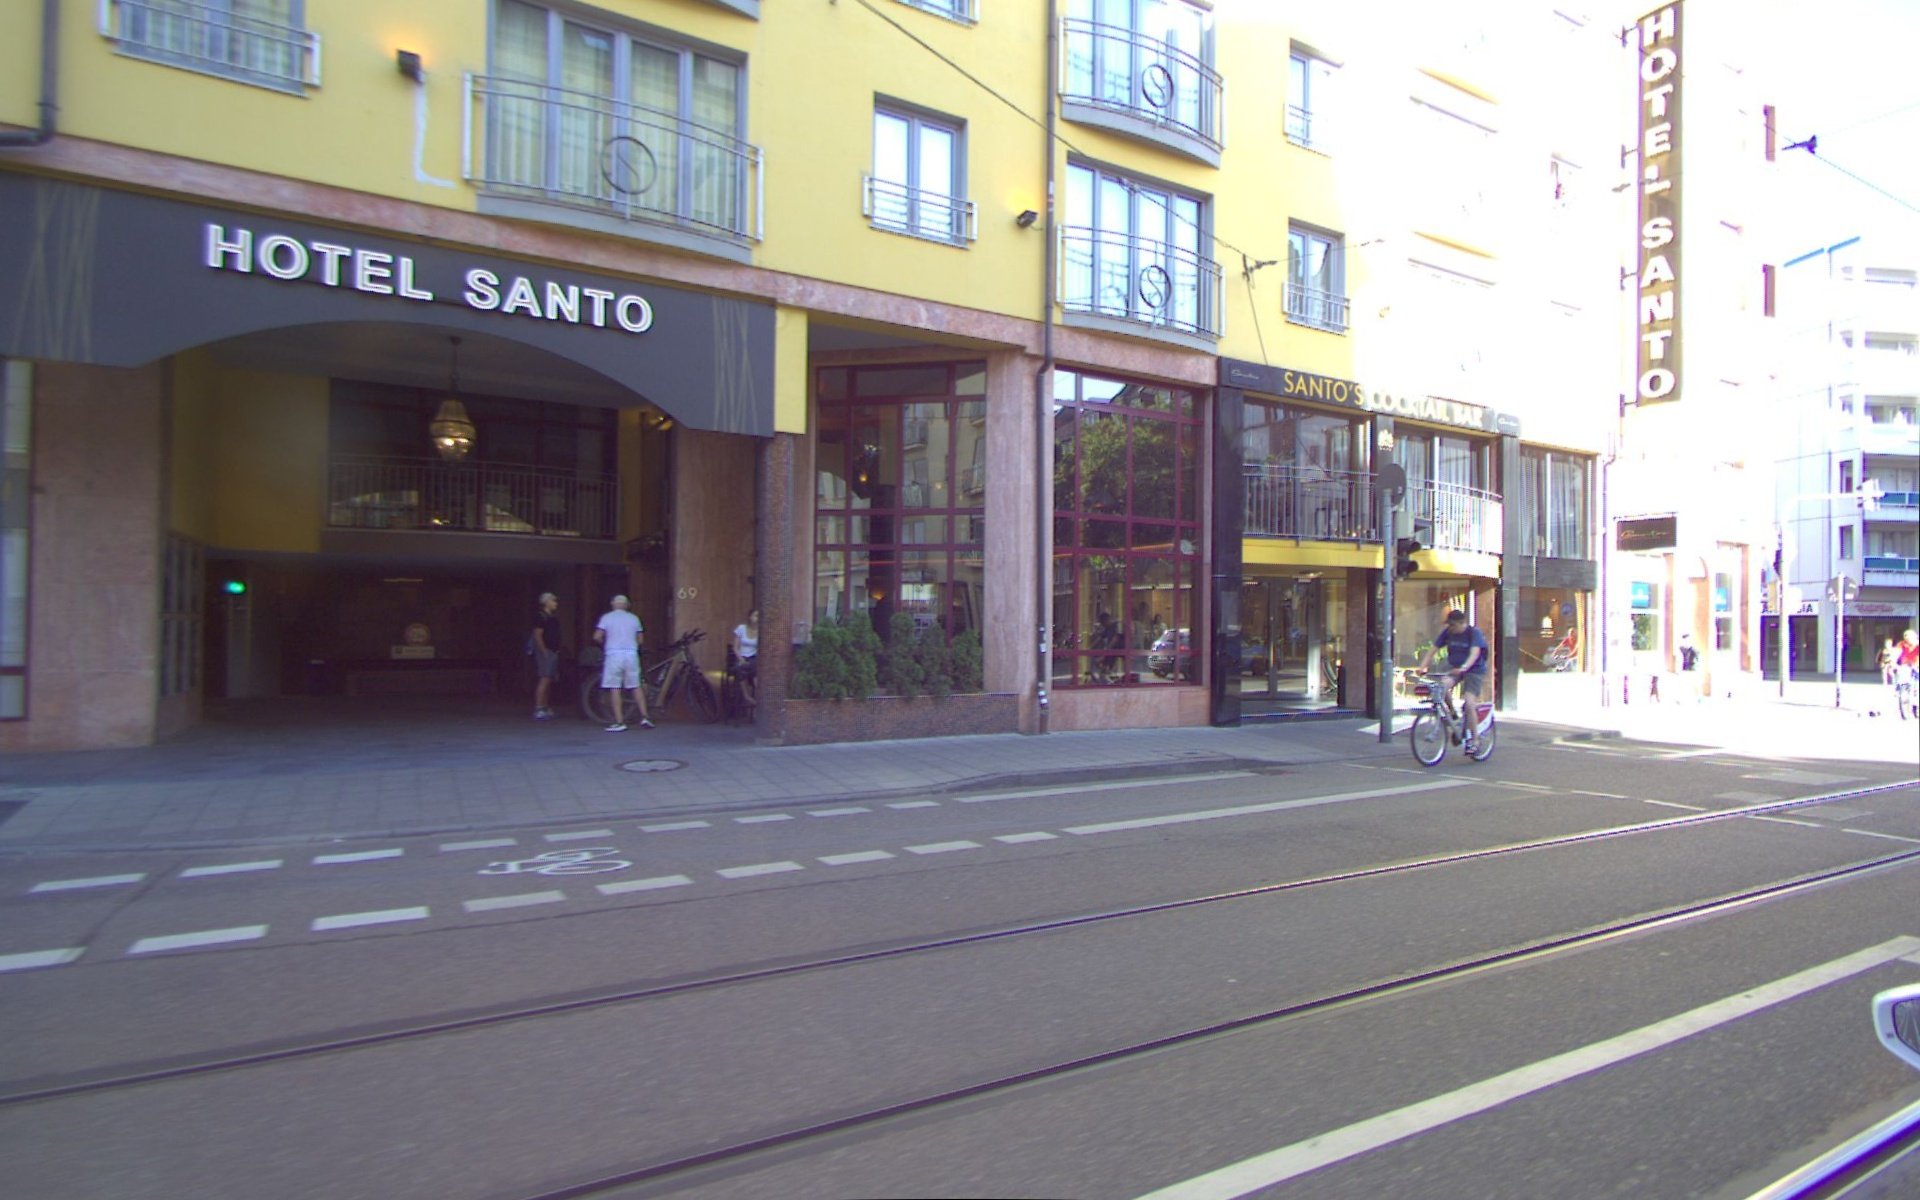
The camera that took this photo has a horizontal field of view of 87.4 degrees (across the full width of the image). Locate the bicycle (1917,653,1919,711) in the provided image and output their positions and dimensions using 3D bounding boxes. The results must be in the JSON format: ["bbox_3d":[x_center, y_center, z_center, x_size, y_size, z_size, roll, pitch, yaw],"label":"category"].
[{"bbox_3d":[20.865,1.719,21.027,2.038,1.199,0.727,2,-1,-31],"label":"bicycle"}]

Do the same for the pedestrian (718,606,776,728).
[{"bbox_3d":[-2.841,0.877,13.353,0.593,1.568,0.703,1,-1,-25],"label":"pedestrian"}]

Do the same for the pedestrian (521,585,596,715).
[{"bbox_3d":[-5.752,0.702,14.385,0.943,1.793,0.705,1,-1,-25],"label":"pedestrian"}]

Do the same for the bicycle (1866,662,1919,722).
[{"bbox_3d":[18.540,1.769,19.606,2.038,1.079,0.727,2,-1,-31],"label":"bicycle"}]

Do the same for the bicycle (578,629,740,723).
[{"bbox_3d":[-4.102,1.018,13.757,2.052,1.218,0.580,1,-1,-26],"label":"bicycle"}]

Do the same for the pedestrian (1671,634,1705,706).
[{"bbox_3d":[14.716,1.410,20.302,0.510,1.429,0.402,1,-1,-31],"label":"pedestrian"}]

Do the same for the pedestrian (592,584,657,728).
[{"bbox_3d":[-4.346,0.713,12.990,0.713,1.793,0.559,1,-1,-25],"label":"pedestrian"}]

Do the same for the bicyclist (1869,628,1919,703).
[{"bbox_3d":[18.473,1.268,19.585,1.452,1.399,0.731,2,-1,-31],"label":"bicyclist"}]

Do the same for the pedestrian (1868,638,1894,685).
[{"bbox_3d":[31.378,2.099,34.221,0.510,1.572,0.540,1,-1,-31],"label":"pedestrian"}]

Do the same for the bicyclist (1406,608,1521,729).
[{"bbox_3d":[6.138,0.813,12.241,1.214,1.399,0.720,2,-1,-31],"label":"bicyclist"}]

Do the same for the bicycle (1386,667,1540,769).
[{"bbox_3d":[6.157,1.399,12.257,2.038,1.102,0.727,2,-2,-31],"label":"bicycle"}]
